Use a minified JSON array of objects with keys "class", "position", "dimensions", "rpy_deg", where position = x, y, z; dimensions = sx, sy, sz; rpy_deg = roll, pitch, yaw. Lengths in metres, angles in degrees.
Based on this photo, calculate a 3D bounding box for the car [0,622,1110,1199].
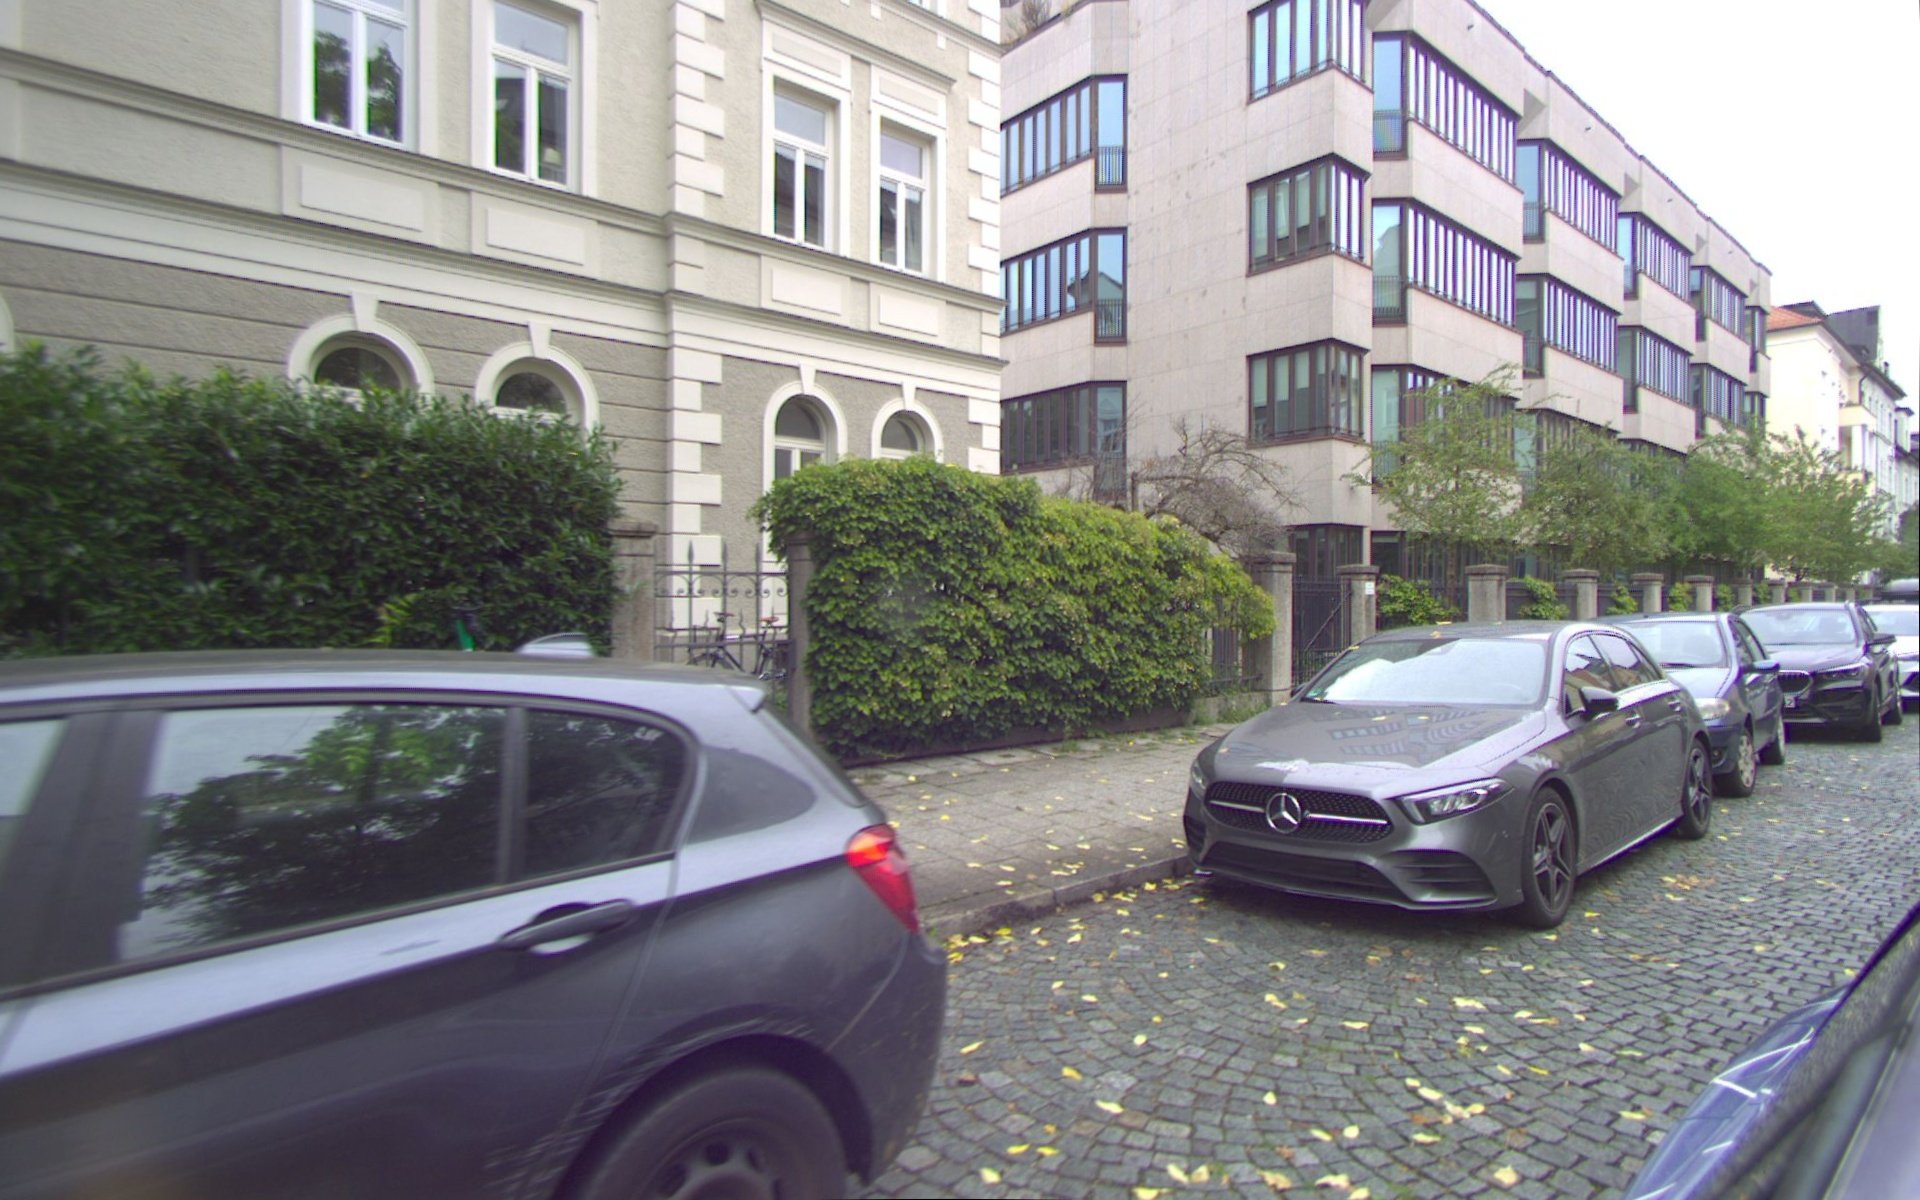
[{"class":"car","position":[-1.908,0.843,1.732],"dimensions":[4.342,1.509,1.840],"rpy_deg":[0,-2,-40]}]

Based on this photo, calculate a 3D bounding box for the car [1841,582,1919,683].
[{"class":"car","position":[18.296,0.572,19.157],"dimensions":[4.667,1.758,1.874],"rpy_deg":[0,-3,-43]}]

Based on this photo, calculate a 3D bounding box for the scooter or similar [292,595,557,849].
[{"class":"scooter or similar","position":[-2.957,0.613,5.673],"dimensions":[0.413,1.249,1.229],"rpy_deg":[4,2,38]}]

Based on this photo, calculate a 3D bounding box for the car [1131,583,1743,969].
[{"class":"car","position":[3.032,0.711,5.975],"dimensions":[4.195,1.491,1.715],"rpy_deg":[0,-2,-42]}]

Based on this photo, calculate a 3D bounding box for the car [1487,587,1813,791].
[{"class":"car","position":[6.438,0.672,9.261],"dimensions":[3.995,1.459,1.694],"rpy_deg":[0,-3,-45]}]

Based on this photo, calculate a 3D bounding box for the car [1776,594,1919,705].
[{"class":"car","position":[14.550,0.719,15.770],"dimensions":[4.532,1.510,1.877],"rpy_deg":[1,-2,-39]}]

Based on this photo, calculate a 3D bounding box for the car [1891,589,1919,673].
[{"class":"car","position":[22.364,0.632,22.404],"dimensions":[4.803,1.757,1.877],"rpy_deg":[0,-2,-39]}]

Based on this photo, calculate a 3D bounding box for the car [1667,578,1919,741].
[{"class":"car","position":[10.729,0.649,12.721],"dimensions":[4.575,1.691,1.876],"rpy_deg":[0,-2,-40]}]
